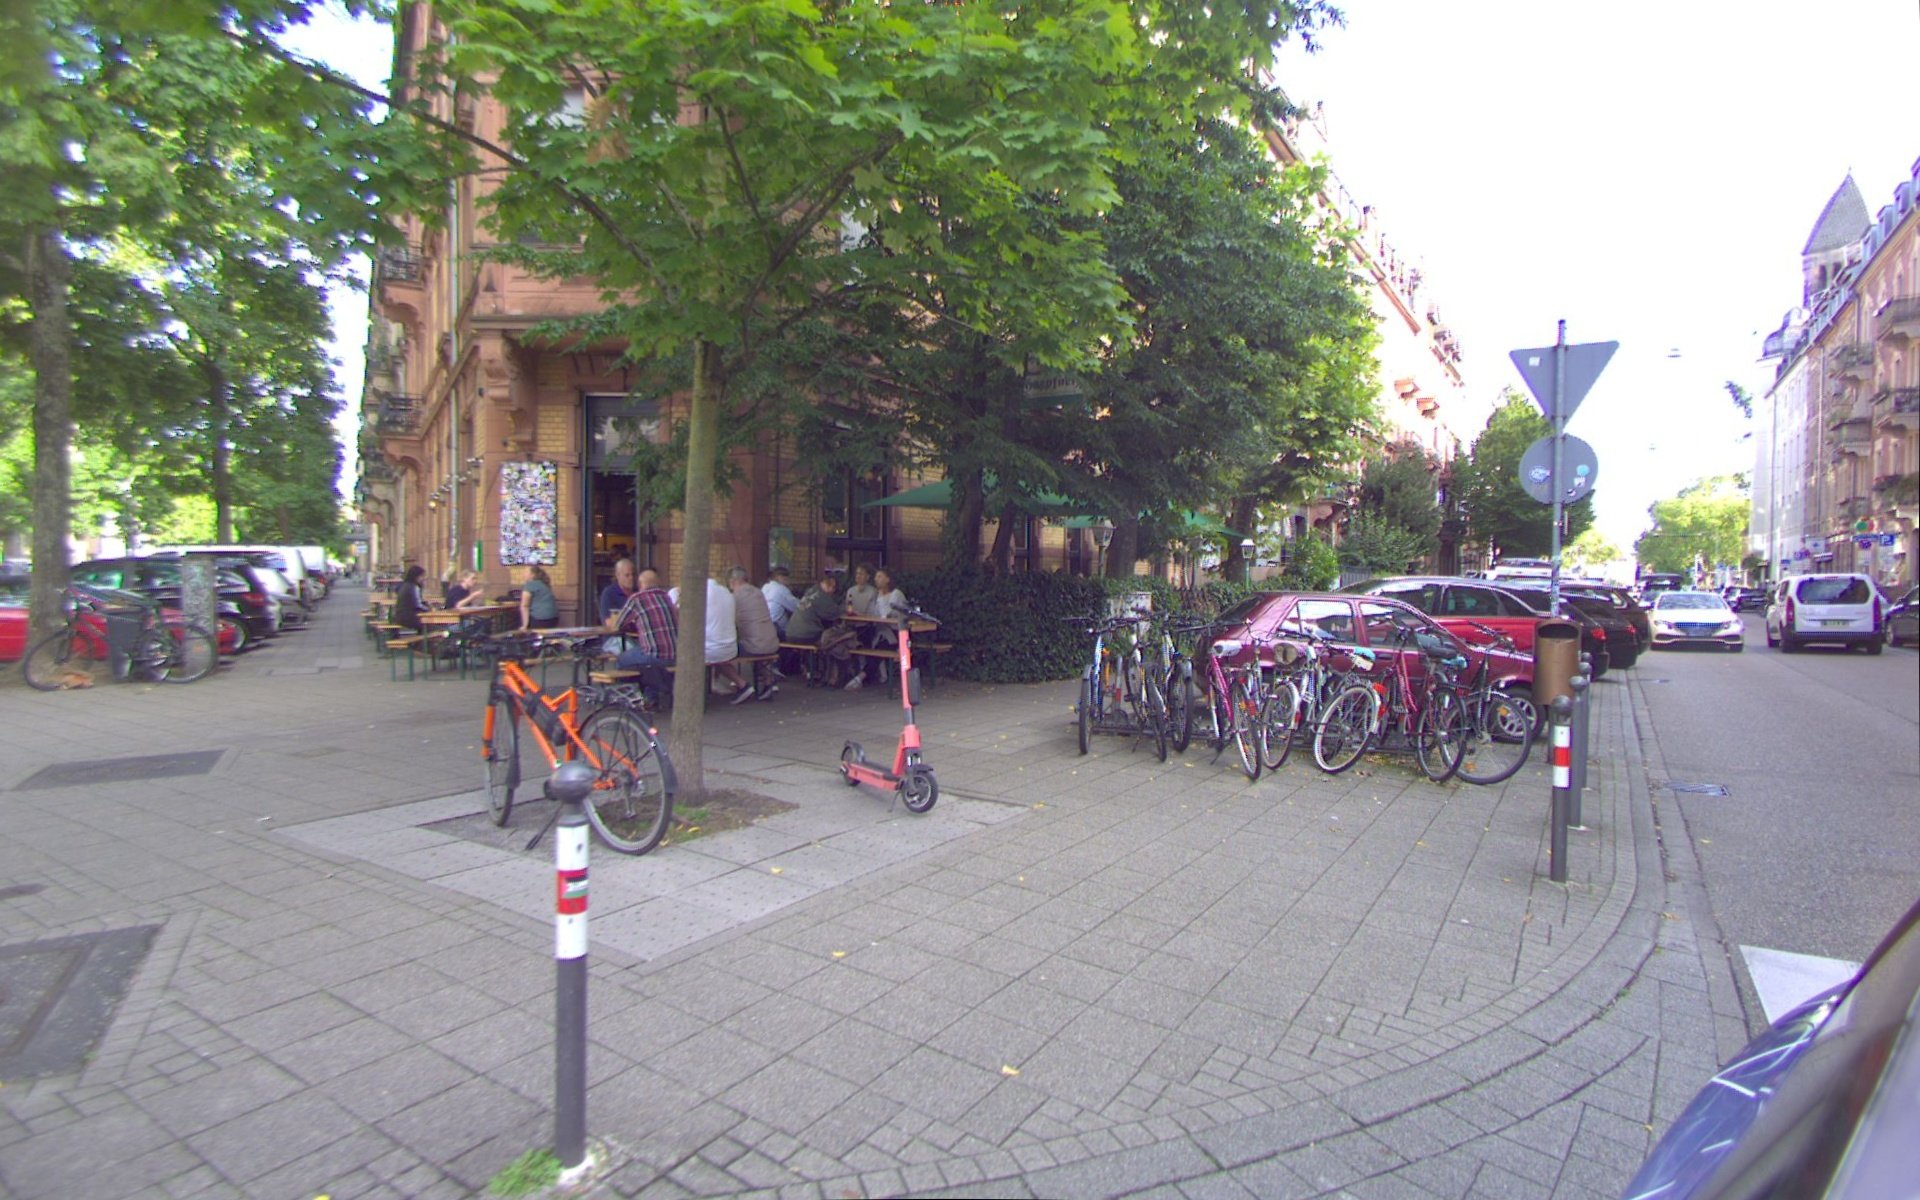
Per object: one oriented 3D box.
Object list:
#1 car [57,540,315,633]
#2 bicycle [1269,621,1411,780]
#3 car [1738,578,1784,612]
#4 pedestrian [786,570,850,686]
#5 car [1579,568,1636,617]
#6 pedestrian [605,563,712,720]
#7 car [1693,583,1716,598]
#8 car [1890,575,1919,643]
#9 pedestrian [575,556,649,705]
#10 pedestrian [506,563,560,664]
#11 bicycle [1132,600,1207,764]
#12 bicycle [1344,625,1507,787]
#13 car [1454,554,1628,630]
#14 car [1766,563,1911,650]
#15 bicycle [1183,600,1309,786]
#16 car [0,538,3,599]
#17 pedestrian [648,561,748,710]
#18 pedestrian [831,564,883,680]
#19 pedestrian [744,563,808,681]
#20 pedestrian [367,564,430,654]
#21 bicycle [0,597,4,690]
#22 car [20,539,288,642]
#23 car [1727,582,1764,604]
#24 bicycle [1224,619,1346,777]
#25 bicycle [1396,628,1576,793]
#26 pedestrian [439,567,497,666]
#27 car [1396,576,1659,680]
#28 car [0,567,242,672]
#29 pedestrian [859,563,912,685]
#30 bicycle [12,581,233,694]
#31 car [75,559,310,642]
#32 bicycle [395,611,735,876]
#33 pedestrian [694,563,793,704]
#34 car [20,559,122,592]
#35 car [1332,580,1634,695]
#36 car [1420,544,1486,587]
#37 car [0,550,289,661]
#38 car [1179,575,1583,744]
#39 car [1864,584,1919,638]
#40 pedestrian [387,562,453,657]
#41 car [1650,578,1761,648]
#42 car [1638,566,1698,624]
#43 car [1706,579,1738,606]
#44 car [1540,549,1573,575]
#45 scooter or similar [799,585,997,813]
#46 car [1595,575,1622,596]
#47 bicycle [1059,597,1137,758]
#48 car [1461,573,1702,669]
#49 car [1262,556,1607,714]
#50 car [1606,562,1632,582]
[{"bbox_3d":[-18.892,-0.419,25.051,4.820,2.013,2.048,-4,4,-34],"label":"car"},{"bbox_3d":[3.010,0.742,8.192,0.463,0.997,1.865,2,3,2],"label":"bicycle"},{"bbox_3d":[44.664,-0.321,56.481,1.674,1.807,3.971,2,2,34],"label":"car"},{"bbox_3d":[-1.587,0.293,11.356,0.540,1.247,0.620,1,2,10],"label":"pedestrian"},{"bbox_3d":[28.435,-0.352,44.424,1.987,2.039,3.951,0,0,34],"label":"car"},{"bbox_3d":[-2.698,0.347,9.070,0.721,1.331,0.517,2,1,22],"label":"pedestrian"},{"bbox_3d":[69.945,-0.918,95.100,1.615,1.396,3.715,1,2,34],"label":"car"},{"bbox_3d":[23.624,0.216,23.741,1.748,1.618,4.295,0,0,30],"label":"car"},{"bbox_3d":[-3.417,0.274,9.915,0.655,1.396,0.719,0,2,-21],"label":"pedestrian"},{"bbox_3d":[-5.659,0.163,13.414,0.628,1.274,0.513,-1,3,-24],"label":"pedestrian"},{"bbox_3d":[1.679,0.603,8.271,0.467,1.114,1.671,3,2,9],"label":"bicycle"},{"bbox_3d":[3.649,0.777,8.103,0.463,0.997,1.865,2,3,2],"label":"bicycle"},{"bbox_3d":[19.500,-0.280,34.102,4.651,2.453,1.999,0,0,2],"label":"car"},{"bbox_3d":[21.113,0.116,24.525,1.930,1.903,4.780,0,0,32],"label":"car"},{"bbox_3d":[2.135,0.627,7.768,0.466,1.157,1.838,2,2,2],"label":"bicycle"},{"bbox_3d":[-37.471,-1.179,35.839,2.127,2.249,4.765,1,0,27],"label":"car"},{"bbox_3d":[-2.466,0.317,9.539,0.721,1.331,0.517,2,1,22],"label":"pedestrian"},{"bbox_3d":[-1.222,0.247,12.094,0.459,1.343,0.620,1,2,10],"label":"pedestrian"},{"bbox_3d":[-2.118,0.232,11.683,0.540,1.316,0.620,1,2,10],"label":"pedestrian"},{"bbox_3d":[-8.459,0.119,15.250,0.754,1.300,0.629,-2,2,-33],"label":"pedestrian"},{"bbox_3d":[-11.039,0.392,10.391,1.678,1.216,0.449,-2,3,-27],"label":"bicycle"},{"bbox_3d":[-14.763,-0.185,18.818,3.634,1.743,1.863,-1,0,-29],"label":"car"},{"bbox_3d":[50.261,-0.453,64.768,1.615,1.396,3.715,1,1,34],"label":"car"},{"bbox_3d":[2.556,0.717,8.142,0.410,0.997,1.838,2,3,2],"label":"bicycle"},{"bbox_3d":[4.076,0.801,8.002,0.463,0.997,1.865,2,3,2],"label":"bicycle"},{"bbox_3d":[-6.398,0.200,13.177,0.628,1.239,0.513,-1,3,-24],"label":"pedestrian"},{"bbox_3d":[9.551,0.420,17.304,3.532,1.482,1.509,3,2,11],"label":"car"},{"bbox_3d":[-12.286,0.254,13.749,4.034,1.286,1.568,-3,1,-33],"label":"car"},{"bbox_3d":[-0.848,0.250,11.564,0.459,1.343,0.620,1,2,10],"label":"pedestrian"},{"bbox_3d":[-9.207,0.382,11.218,1.764,1.127,0.601,-2,3,-27],"label":"bicycle"},{"bbox_3d":[-15.801,-0.048,21.081,3.635,1.475,1.672,-3,3,-29],"label":"car"},{"bbox_3d":[-2.041,0.622,5.126,1.844,1.048,0.675,2,2,34],"label":"bicycle"},{"bbox_3d":[-2.159,0.314,10.103,0.721,1.331,0.603,2,1,22],"label":"pedestrian"},{"bbox_3d":[-47.788,-1.308,54.483,1.722,1.659,3.804,1,0,32],"label":"car"},{"bbox_3d":[7.431,0.486,14.704,3.532,1.339,1.509,3,2,11],"label":"car"},{"bbox_3d":[21.970,-1.500,45.045,1.728,1.825,3.942,0,0,40],"label":"car"},{"bbox_3d":[-13.602,0.050,16.402,4.224,1.589,2.010,-2,2,-25],"label":"car"},{"bbox_3d":[4.164,0.538,10.519,3.529,1.397,1.510,3,2,9],"label":"car"},{"bbox_3d":[26.269,0.274,27.822,1.615,1.396,3.715,1,1,34],"label":"car"},{"bbox_3d":[-7.768,0.120,14.553,0.754,1.300,0.629,-2,2,-33],"label":"pedestrian"},{"bbox_3d":[18.950,0.267,25.907,1.930,1.617,4.780,0,0,32],"label":"car"},{"bbox_3d":[27.303,-0.228,38.996,1.783,2.089,3.948,2,2,36],"label":"car"},{"bbox_3d":[58.391,-0.608,77.548,1.716,1.957,3.962,1,2,34],"label":"car"},{"bbox_3d":[42.375,-2.691,71.944,1.834,1.756,3.961,0,0,28],"label":"car"},{"bbox_3d":[-0.417,0.546,6.275,0.546,1.226,1.292,2,0,-38],"label":"scooter or similar"},{"bbox_3d":[52.097,-1.187,81.282,1.752,1.627,3.629,1,2,34],"label":"car"},{"bbox_3d":[1.161,0.572,8.312,0.428,1.114,1.669,3,3,13],"label":"bicycle"},{"bbox_3d":[11.685,0.349,19.235,3.531,1.632,1.509,1,2,11],"label":"car"},{"bbox_3d":[5.722,0.367,12.605,3.532,1.635,1.509,3,2,11],"label":"car"},{"bbox_3d":[64.526,-2.690,99.079,1.987,1.912,3.949,0,0,36],"label":"car"}]
